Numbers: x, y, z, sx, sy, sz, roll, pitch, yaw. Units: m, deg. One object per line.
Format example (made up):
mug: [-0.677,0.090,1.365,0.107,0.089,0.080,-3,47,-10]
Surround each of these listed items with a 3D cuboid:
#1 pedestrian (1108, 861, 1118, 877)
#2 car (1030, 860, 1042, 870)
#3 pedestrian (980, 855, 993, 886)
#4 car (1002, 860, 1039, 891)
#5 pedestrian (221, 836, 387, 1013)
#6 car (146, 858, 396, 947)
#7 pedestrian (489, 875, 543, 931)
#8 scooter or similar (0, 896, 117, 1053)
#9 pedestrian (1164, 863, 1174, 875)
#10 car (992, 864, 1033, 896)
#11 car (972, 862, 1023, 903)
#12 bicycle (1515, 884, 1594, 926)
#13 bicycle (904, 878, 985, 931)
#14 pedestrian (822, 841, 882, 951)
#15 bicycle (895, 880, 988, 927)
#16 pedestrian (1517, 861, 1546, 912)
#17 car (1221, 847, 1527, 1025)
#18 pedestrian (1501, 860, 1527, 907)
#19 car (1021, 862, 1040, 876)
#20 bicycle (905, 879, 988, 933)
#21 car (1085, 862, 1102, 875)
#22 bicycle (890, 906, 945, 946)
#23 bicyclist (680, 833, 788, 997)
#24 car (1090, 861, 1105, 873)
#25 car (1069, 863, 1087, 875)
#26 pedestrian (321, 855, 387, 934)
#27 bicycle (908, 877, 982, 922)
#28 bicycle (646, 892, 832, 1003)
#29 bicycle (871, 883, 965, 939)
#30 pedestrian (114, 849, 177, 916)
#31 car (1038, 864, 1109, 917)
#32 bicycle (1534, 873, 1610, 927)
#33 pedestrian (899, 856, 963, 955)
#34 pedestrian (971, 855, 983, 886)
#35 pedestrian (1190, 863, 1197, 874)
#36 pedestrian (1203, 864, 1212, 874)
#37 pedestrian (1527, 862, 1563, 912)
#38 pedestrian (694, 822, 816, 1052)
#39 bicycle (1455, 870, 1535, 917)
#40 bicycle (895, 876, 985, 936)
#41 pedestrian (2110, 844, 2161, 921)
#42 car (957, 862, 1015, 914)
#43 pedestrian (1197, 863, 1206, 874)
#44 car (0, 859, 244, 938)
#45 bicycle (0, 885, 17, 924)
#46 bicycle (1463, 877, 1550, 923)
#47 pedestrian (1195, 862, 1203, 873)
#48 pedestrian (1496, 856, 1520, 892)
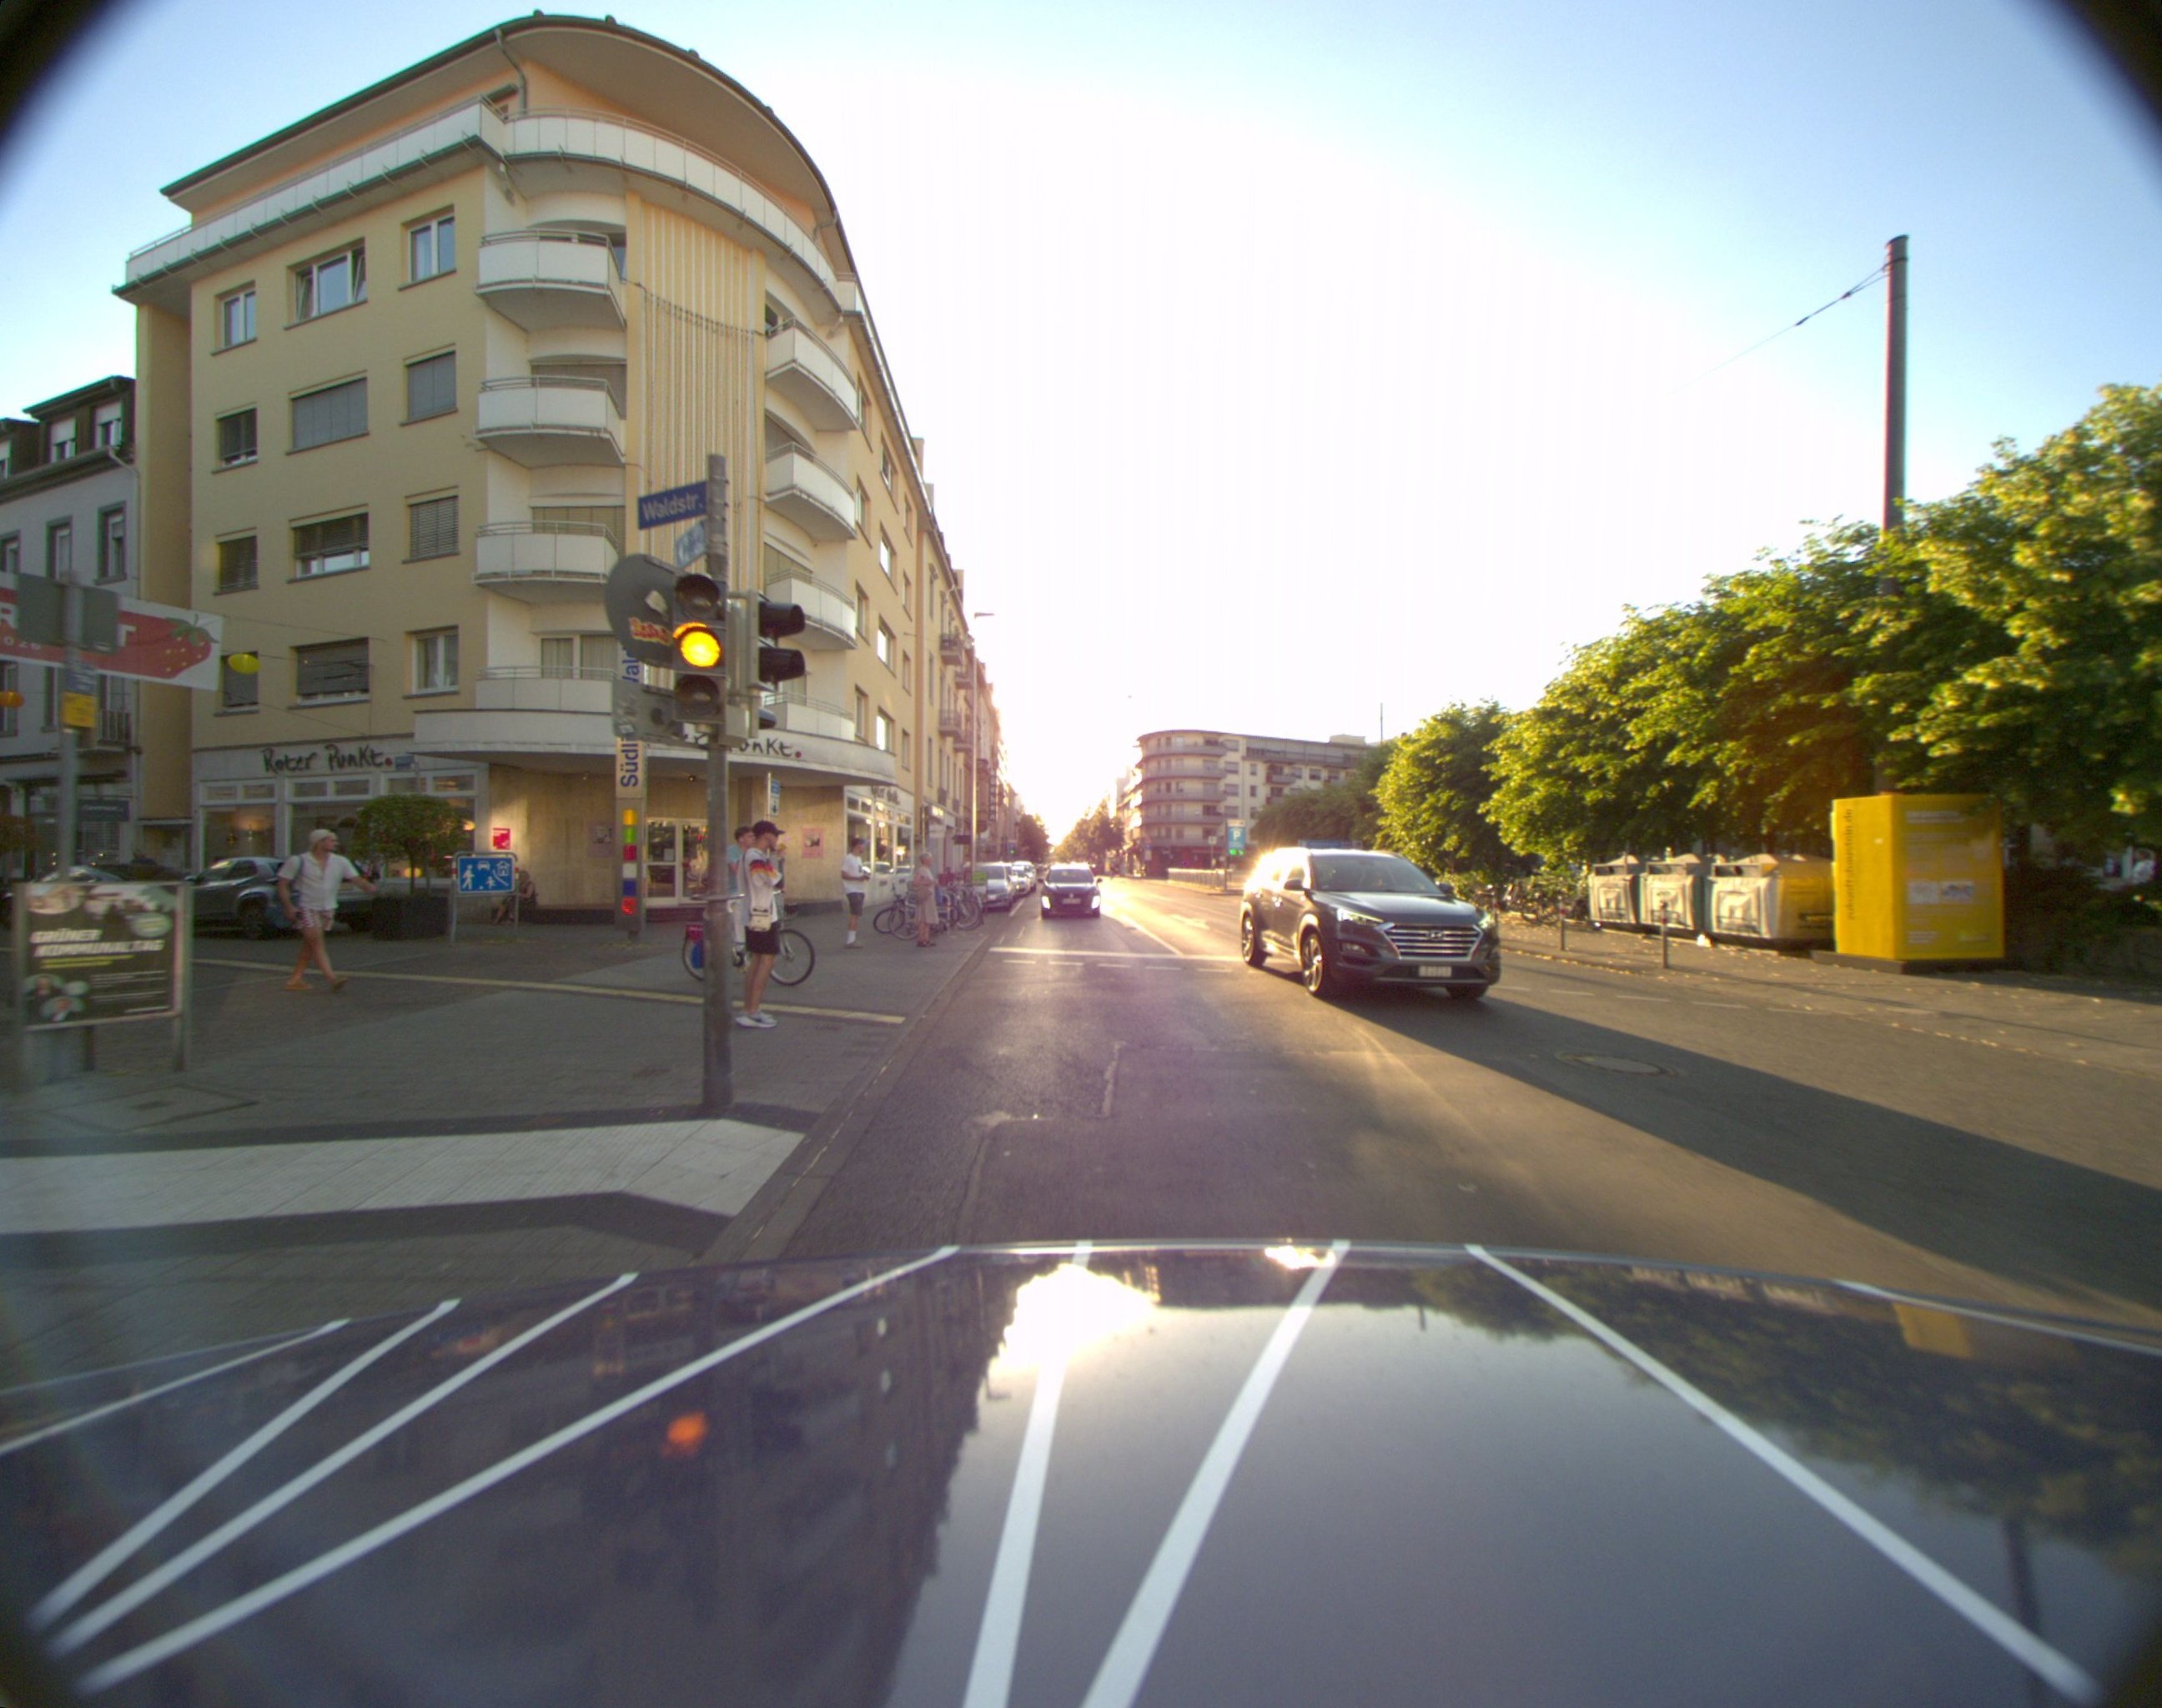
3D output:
pedestrian: [3.122,1.476,74.704,0.678,1.508,0.676,0,0,-44]
car: [-8.514,2.085,142.756,2.000,1.805,3.997,1,1,-6]
pedestrian: [-6.031,1.043,48.489,0.763,2.002,0.851,0,0,-2]
car: [-3.407,1.197,43.379,1.877,1.664,4.429,0,0,-2]
pedestrian: [-8.293,0.703,8.135,1.098,1.764,0.827,0,0,18]
car: [-15.942,0.879,14.993,3.980,1.583,1.838,0,0,18]
pedestrian: [-12.367,1.056,16.642,0.636,1.178,0.706,0,0,15]
scooter or similar: [-8.877,0.983,6.472,1.255,1.207,0.468,0,0,21]
pedestrian: [10.593,1.800,91.269,0.890,1.314,0.731,0,0,-29]
car: [-3.323,1.252,37.768,1.738,1.448,4.610,0,-1,-1]
car: [-3.464,1.138,32.198,1.822,1.611,4.202,0,0,-2]
bicycle: [11.844,1.263,19.033,1.678,0.973,0.548,-1,0,-6]
bicycle: [-3.172,1.168,17.638,1.789,1.166,0.621,2,0,-13]
pedestrian: [-3.918,0.688,12.977,0.827,1.806,0.869,0,0,-28]
bicycle: [-3.382,1.204,18.583,2.176,1.069,0.805,1,0,-9]
pedestrian: [18.043,1.291,30.440,0.904,2.002,0.858,0,0,25]
car: [3.210,0.814,9.450,1.878,1.679,4.448,1,-1,-3]
pedestrian: [18.808,1.271,33.032,0.904,2.002,0.740,0,0,25]
car: [-5.117,1.518,77.259,1.909,1.421,4.448,0,-1,-3]
bicycle: [-3.014,1.164,17.011,1.789,1.166,0.621,2,0,-13]
car: [1.510,1.750,93.321,1.791,1.458,3.956,1,0,-3]
bicycle: [-3.144,1.367,14.690,1.008,0.677,1.049,0,-1,-11]
bicyclist: [-4.025,0.678,8.874,0.835,1.815,0.831,0,0,6]
car: [2.502,1.967,117.446,1.999,1.805,3.999,0,0,-4]
car: [-0.423,2.102,105.619,1.878,1.621,4.176,2,-1,-7]
pedestrian: [-15.688,0.857,16.414,0.731,1.659,0.757,0,0,17]
bicycle: [-3.510,1.176,19.579,1.851,1.117,0.594,1,1,-13]
bicycle: [-3.960,1.054,8.875,1.823,1.179,0.794,0,0,7]
bicycle: [-3.284,1.147,15.316,1.789,1.057,0.718,2,-1,-13]
pedestrian: [-23.791,0.717,19.333,0.800,1.659,0.756,0,0,17]
car: [-0.127,1.040,23.135,1.908,1.438,4.451,0,0,3]
bicycle: [11.954,1.118,18.512,1.591,1.245,0.445,-1,0,-4]
pedestrian: [-2.604,0.862,13.194,0.789,1.643,0.782,0,0,41]
pedestrian: [-6.653,1.045,48.589,0.673,2.002,0.851,0,0,-2]
pedestrian: [13.673,1.775,92.546,0.732,1.314,0.888,0,0,-3]
pedestrian: [15.466,1.823,92.816,0.733,1.314,0.887,0,0,-15]
pedestrian: [18.953,1.350,31.026,0.907,2.002,0.855,0,0,-15]
pedestrian: [-2.902,0.683,6.799,0.942,1.886,0.824,0,0,-23]
bicycle: [11.784,1.111,21.643,2.031,1.245,0.548,-1,0,-6]
bicycle: [-2.987,1.095,16.265,1.849,1.232,0.639,1,0,-7]
pedestrian: [22.980,0.608,16.382,0.703,1.611,0.842,-1,1,35]
car: [-3.144,1.066,25.929,1.702,1.607,4.681,0,0,-4]
pedestrian: [14.899,1.775,93.843,0.689,1.314,0.819,0,0,-26]
car: [-21.049,0.896,16.684,4.432,1.575,1.948,0,0,18]
bicycle: [-27.049,1.246,18.242,0.589,0.949,1.716,0,0,34]
bicycle: [11.151,1.195,19.948,2.031,1.128,0.548,-1,0,-6]
pedestrian: [14.362,1.643,92.586,0.733,1.314,0.888,0,0,-4]
pedestrian: [23.715,1.111,42.192,0.907,2.002,0.738,0,0,-13]
